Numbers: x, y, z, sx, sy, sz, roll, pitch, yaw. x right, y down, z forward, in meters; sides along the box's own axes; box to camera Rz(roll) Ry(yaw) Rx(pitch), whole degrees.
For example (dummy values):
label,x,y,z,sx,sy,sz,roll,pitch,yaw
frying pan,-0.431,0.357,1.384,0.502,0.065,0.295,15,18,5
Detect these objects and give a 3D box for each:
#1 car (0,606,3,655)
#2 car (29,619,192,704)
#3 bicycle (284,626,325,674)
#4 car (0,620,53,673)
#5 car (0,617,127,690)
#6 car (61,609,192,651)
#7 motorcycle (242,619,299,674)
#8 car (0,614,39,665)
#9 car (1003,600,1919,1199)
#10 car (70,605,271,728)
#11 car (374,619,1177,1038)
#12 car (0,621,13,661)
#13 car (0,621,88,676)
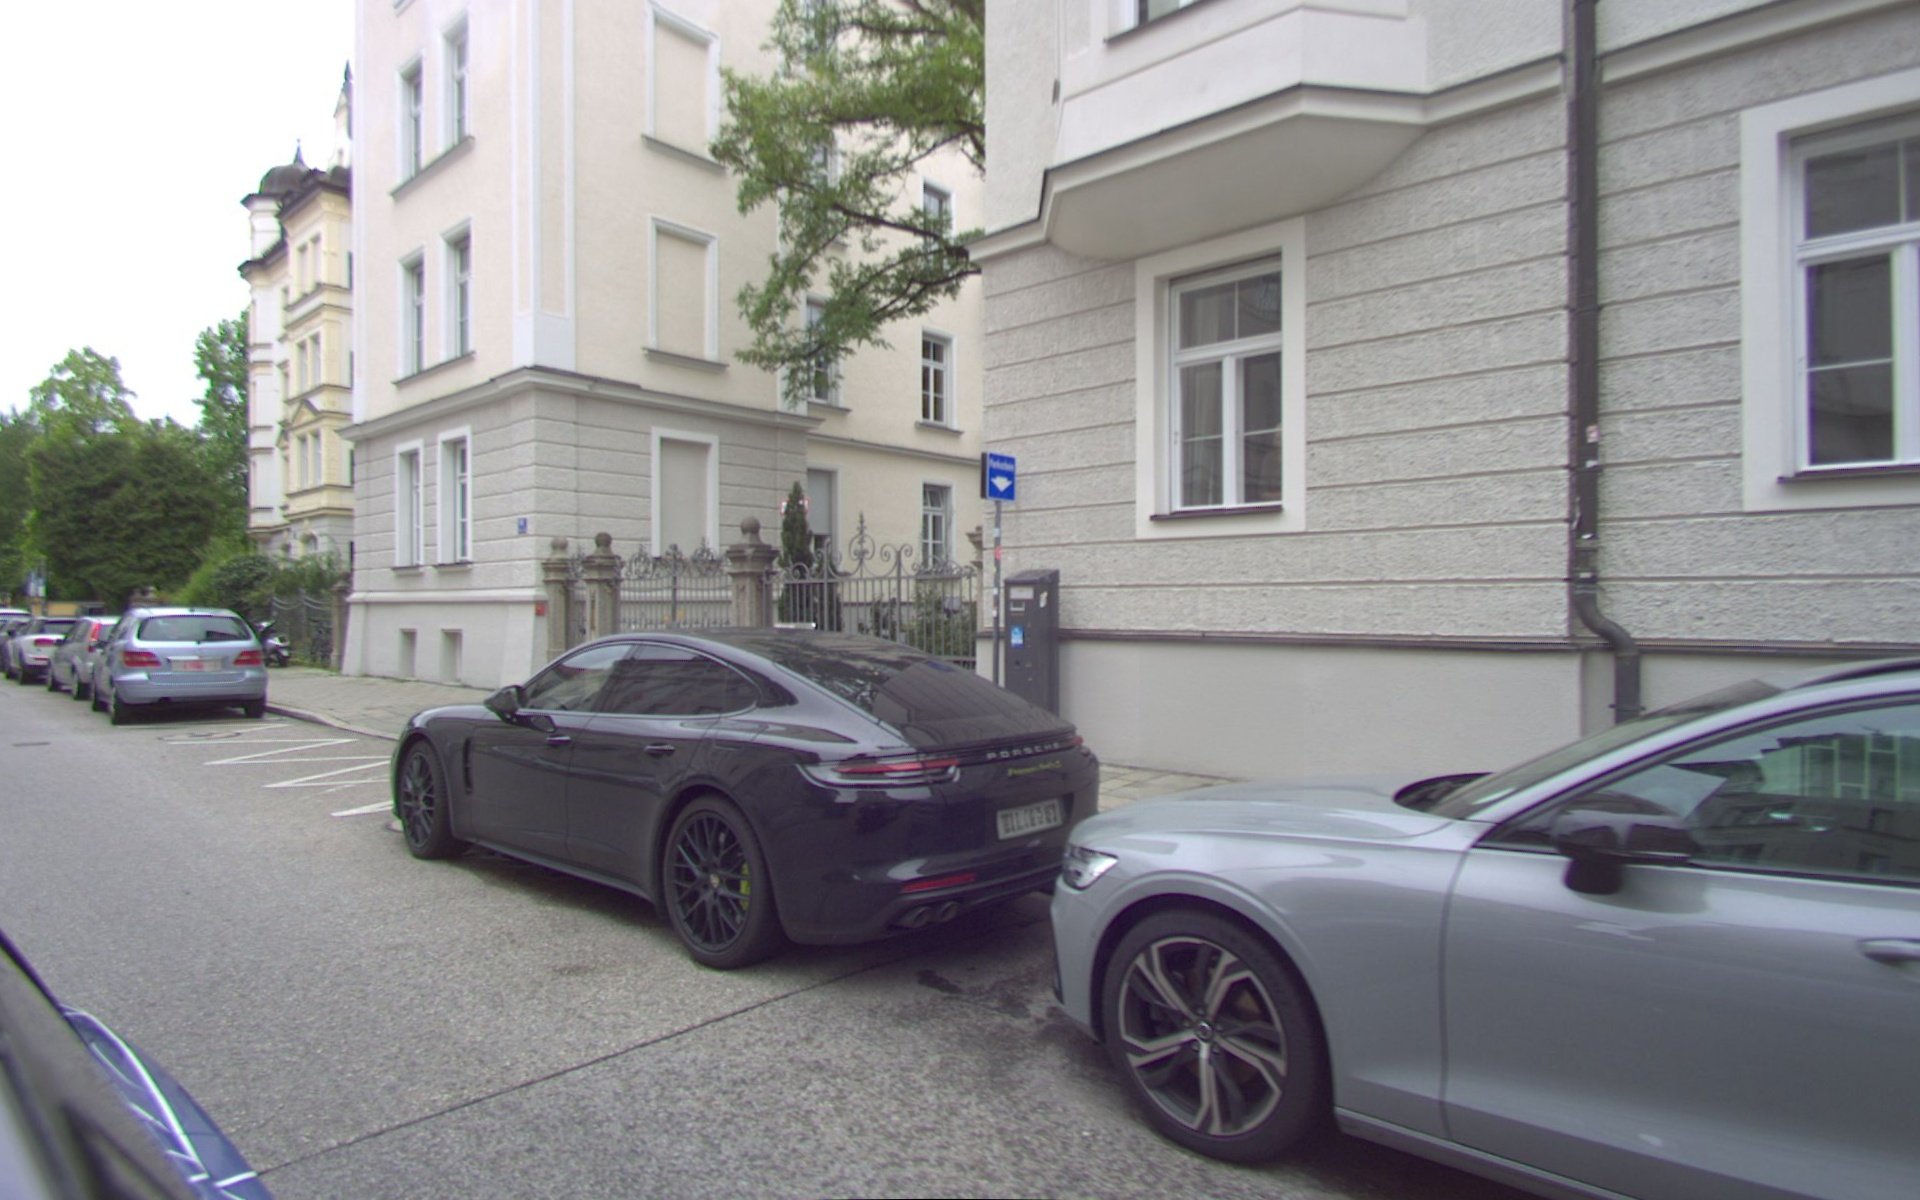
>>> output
label,x,y,z,sx,sy,sz,roll,pitch,yaw
car,-39.905,1.173,40.517,4.815,1.901,1.892,0,-2,42
car,-16.059,1.102,19.066,3.996,1.414,1.628,-1,-3,40
bicycle,-15.482,1.172,23.883,1.420,1.069,0.427,-1,3,43
car,-28.800,1.356,30.395,3.997,1.431,1.751,0,0,40
car,-20.035,1.115,22.468,4.078,1.445,1.778,0,0,42
car,-39.748,1.392,48.360,2.050,1.872,4.468,-1,-1,35
motorcycle,-16.964,1.116,24.889,1.820,1.259,0.697,0,1,41
car,-32.733,1.317,34.275,4.483,1.661,1.787,-1,-2,41
car,2.404,0.760,2.295,4.510,1.430,1.775,0,-3,42
car,-11.904,0.939,15.172,4.061,1.593,1.678,-1,-4,43
car,-1.348,0.808,5.619,4.698,1.377,1.831,-1,-1,40
car,-36.610,1.459,37.587,3.917,1.441,1.625,-1,-4,41
car,-25.366,1.290,27.569,4.189,1.375,1.717,-1,-3,39
